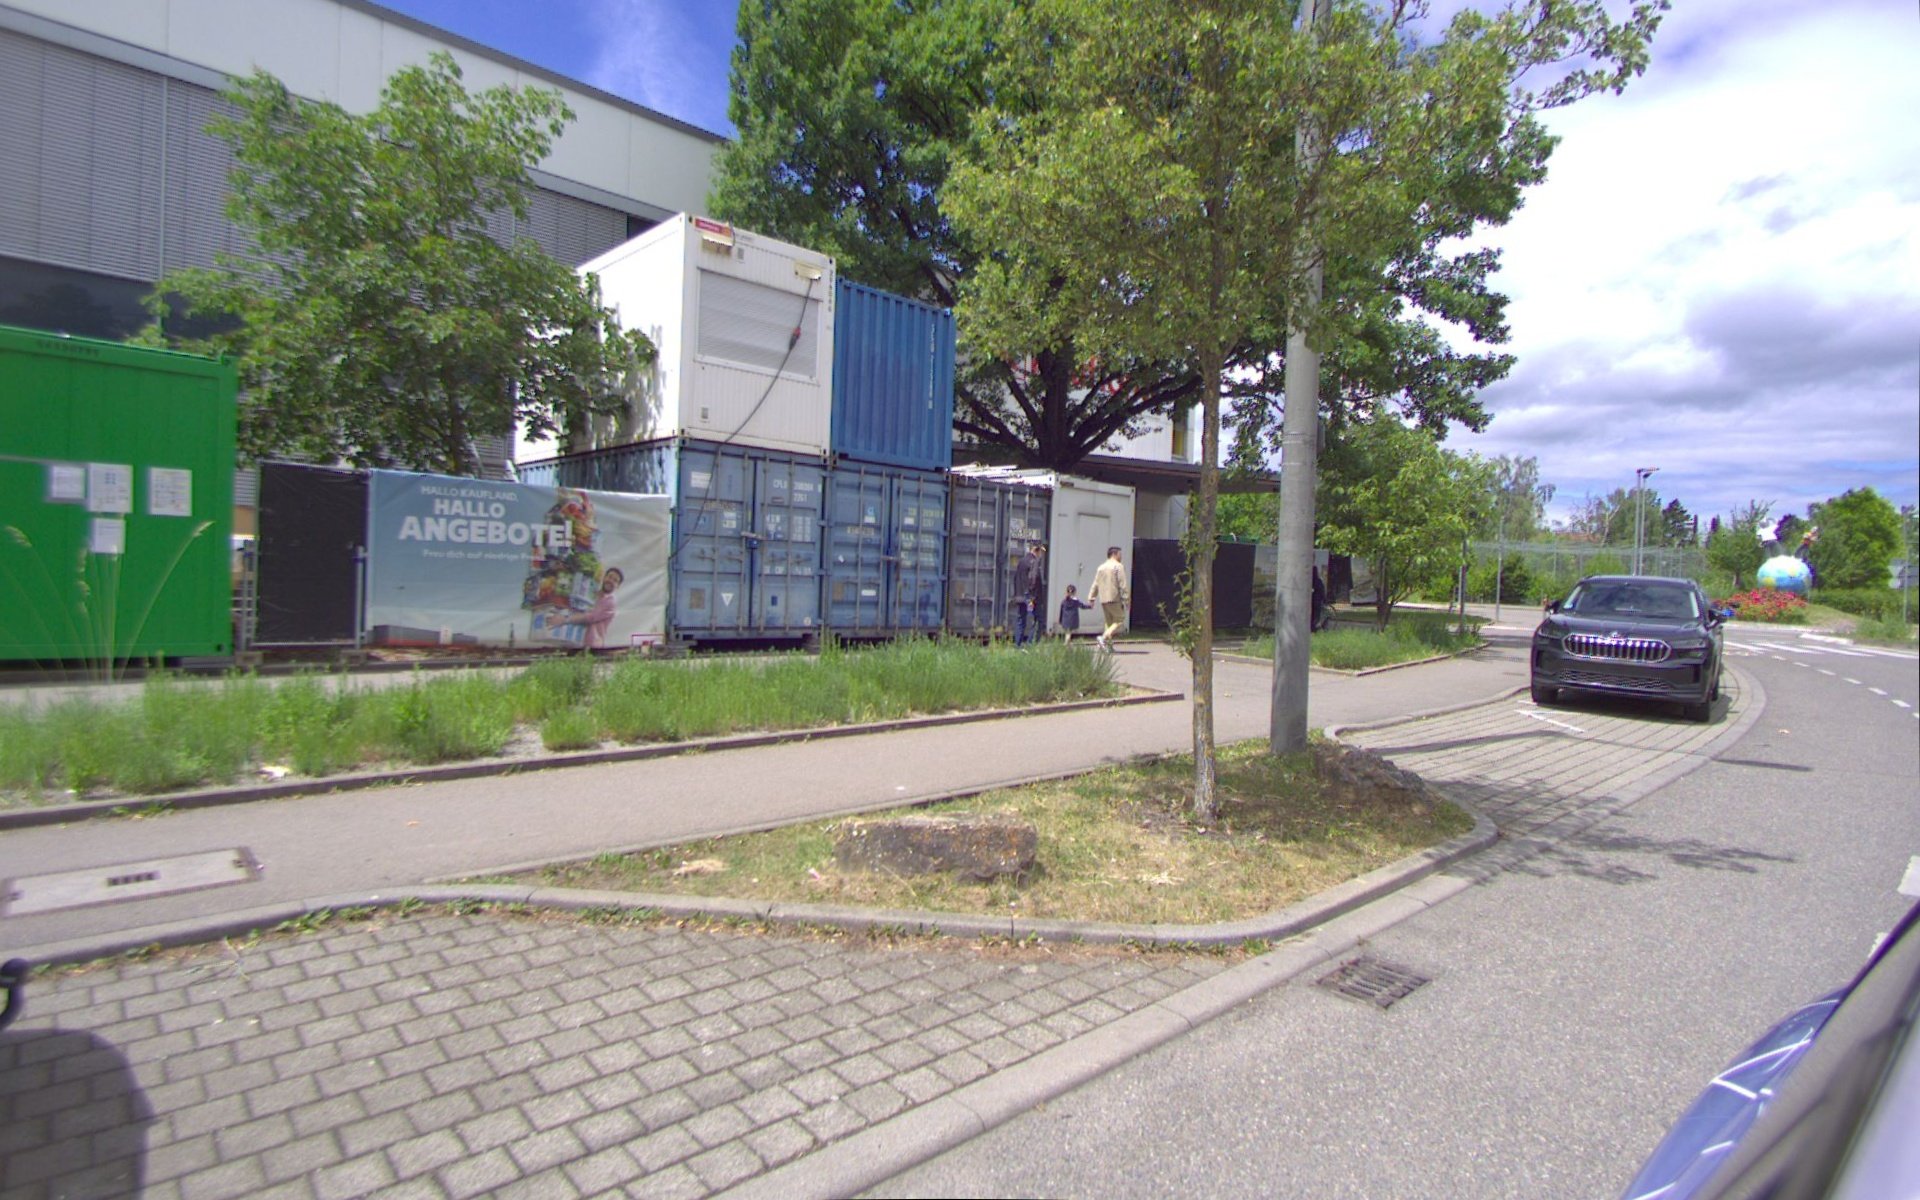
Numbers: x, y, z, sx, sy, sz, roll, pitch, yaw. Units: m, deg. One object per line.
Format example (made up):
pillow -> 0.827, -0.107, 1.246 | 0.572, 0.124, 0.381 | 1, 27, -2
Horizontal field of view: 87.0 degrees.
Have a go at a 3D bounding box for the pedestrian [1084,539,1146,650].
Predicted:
pedestrian -> 2.473, -0.096, 16.184 | 0.712, 1.717, 0.651 | 0, 2, -43

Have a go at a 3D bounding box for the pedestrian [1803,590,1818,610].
pedestrian -> 69.181, 0.026, 82.315 | 0.758, 1.577, 0.596 | 2, 1, 29

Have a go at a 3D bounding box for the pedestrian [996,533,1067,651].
pedestrian -> 1.079, -0.134, 15.208 | 0.830, 1.718, 0.652 | 0, 2, -43

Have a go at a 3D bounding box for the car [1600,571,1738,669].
car -> 13.835, 0.289, 19.736 | 1.912, 1.597, 4.372 | 4, 4, 36

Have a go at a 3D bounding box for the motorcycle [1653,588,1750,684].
motorcycle -> 11.696, 0.510, 15.964 | 1.069, 1.321, 2.230 | 6, 4, 37

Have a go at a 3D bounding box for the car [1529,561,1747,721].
car -> 9.016, 0.384, 13.259 | 1.876, 1.641, 4.778 | 5, 4, 39

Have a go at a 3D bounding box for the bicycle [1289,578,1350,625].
bicycle -> 9.236, 0.033, 25.982 | 1.755, 1.169, 0.452 | 0, 1, -31

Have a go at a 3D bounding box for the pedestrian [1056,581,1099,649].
pedestrian -> 1.904, 0.236, 16.411 | 0.557, 1.071, 0.412 | 0, 2, -43

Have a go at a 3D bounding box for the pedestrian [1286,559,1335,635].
pedestrian -> 7.754, -0.087, 22.388 | 0.755, 1.638, 0.743 | 0, 2, -43

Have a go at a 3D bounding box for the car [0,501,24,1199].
car -> -4.039, 0.551, 0.776 | 4.852, 1.494, 1.768 | -1, 5, -43
